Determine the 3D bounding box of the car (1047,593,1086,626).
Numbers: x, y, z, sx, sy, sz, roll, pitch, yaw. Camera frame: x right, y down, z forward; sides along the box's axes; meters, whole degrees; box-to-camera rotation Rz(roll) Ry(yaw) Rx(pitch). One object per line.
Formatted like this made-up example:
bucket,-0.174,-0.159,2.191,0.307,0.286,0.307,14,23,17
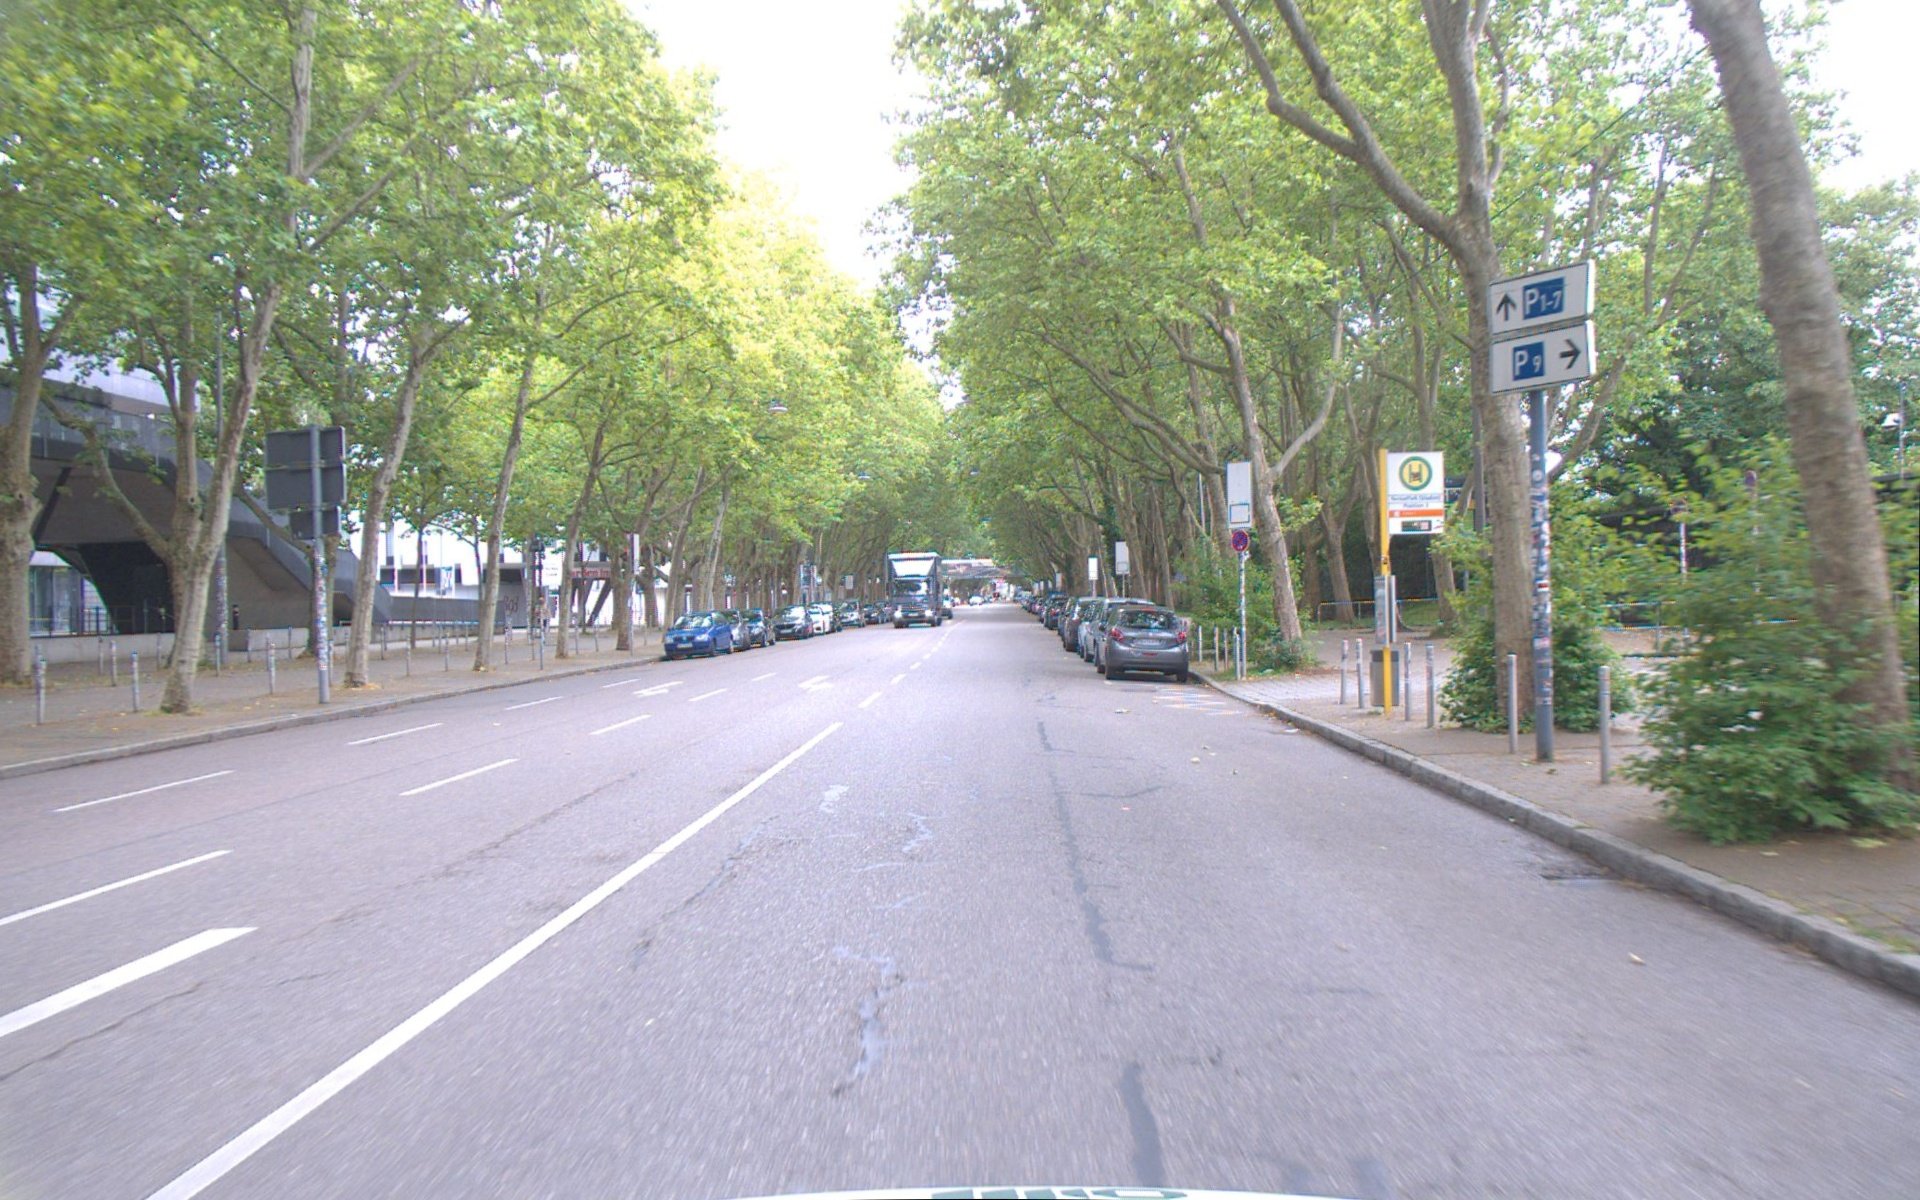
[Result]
car,5.182,0.442,80.883,1.719,1.561,3.929,1,0,1

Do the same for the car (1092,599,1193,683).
car,3.753,0.797,34.592,1.664,1.545,4.455,2,0,1

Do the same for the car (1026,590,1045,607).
car,7.467,-0.136,163.605,1.719,1.561,3.929,1,0,1

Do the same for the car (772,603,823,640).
car,-7.102,0.933,72.539,1.729,1.443,3.761,-4,-1,1

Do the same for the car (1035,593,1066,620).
car,5.491,0.402,100.461,1.719,1.561,3.930,-1,0,1

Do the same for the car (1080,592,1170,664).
car,3.966,0.644,40.331,1.684,1.594,4.093,2,0,-1

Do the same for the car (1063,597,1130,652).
car,4.076,0.704,50.018,1.720,1.516,4.417,2,0,1

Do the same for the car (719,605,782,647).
car,-7.911,0.986,62.726,1.729,1.443,3.761,-4,-1,1

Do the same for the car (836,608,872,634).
car,-6.359,1.293,99.744,1.856,1.463,3.999,-3,-2,0

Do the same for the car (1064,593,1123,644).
car,4.459,0.591,55.605,1.719,1.625,3.929,1,0,1

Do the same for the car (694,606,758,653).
car,-8.139,1.038,57.784,1.730,1.443,3.760,-4,-1,-2

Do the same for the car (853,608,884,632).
car,-6.178,1.367,112.272,1.856,1.463,3.999,-3,-2,0

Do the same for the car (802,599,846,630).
car,-6.987,0.761,85.338,1.856,1.463,3.999,-3,-2,0

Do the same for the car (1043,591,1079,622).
car,5.275,0.343,86.738,1.719,1.561,3.929,-1,0,1

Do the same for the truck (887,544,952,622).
truck,-2.123,-0.888,90.902,2.586,3.969,9.545,-3,0,4

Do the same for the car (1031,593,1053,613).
car,7.012,0.251,141.970,1.720,1.561,3.929,-3,0,1

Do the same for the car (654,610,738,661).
car,-8.380,1.105,52.777,1.659,1.443,3.764,-4,-1,6

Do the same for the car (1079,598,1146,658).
car,4.130,0.734,45.312,1.640,1.516,3.688,2,0,3

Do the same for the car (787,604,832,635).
car,-7.215,0.937,79.690,1.697,1.355,4.000,-3,-2,1

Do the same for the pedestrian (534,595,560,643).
pedestrian,-16.323,0.731,65.354,0.762,1.867,0.869,-1,0,-33
